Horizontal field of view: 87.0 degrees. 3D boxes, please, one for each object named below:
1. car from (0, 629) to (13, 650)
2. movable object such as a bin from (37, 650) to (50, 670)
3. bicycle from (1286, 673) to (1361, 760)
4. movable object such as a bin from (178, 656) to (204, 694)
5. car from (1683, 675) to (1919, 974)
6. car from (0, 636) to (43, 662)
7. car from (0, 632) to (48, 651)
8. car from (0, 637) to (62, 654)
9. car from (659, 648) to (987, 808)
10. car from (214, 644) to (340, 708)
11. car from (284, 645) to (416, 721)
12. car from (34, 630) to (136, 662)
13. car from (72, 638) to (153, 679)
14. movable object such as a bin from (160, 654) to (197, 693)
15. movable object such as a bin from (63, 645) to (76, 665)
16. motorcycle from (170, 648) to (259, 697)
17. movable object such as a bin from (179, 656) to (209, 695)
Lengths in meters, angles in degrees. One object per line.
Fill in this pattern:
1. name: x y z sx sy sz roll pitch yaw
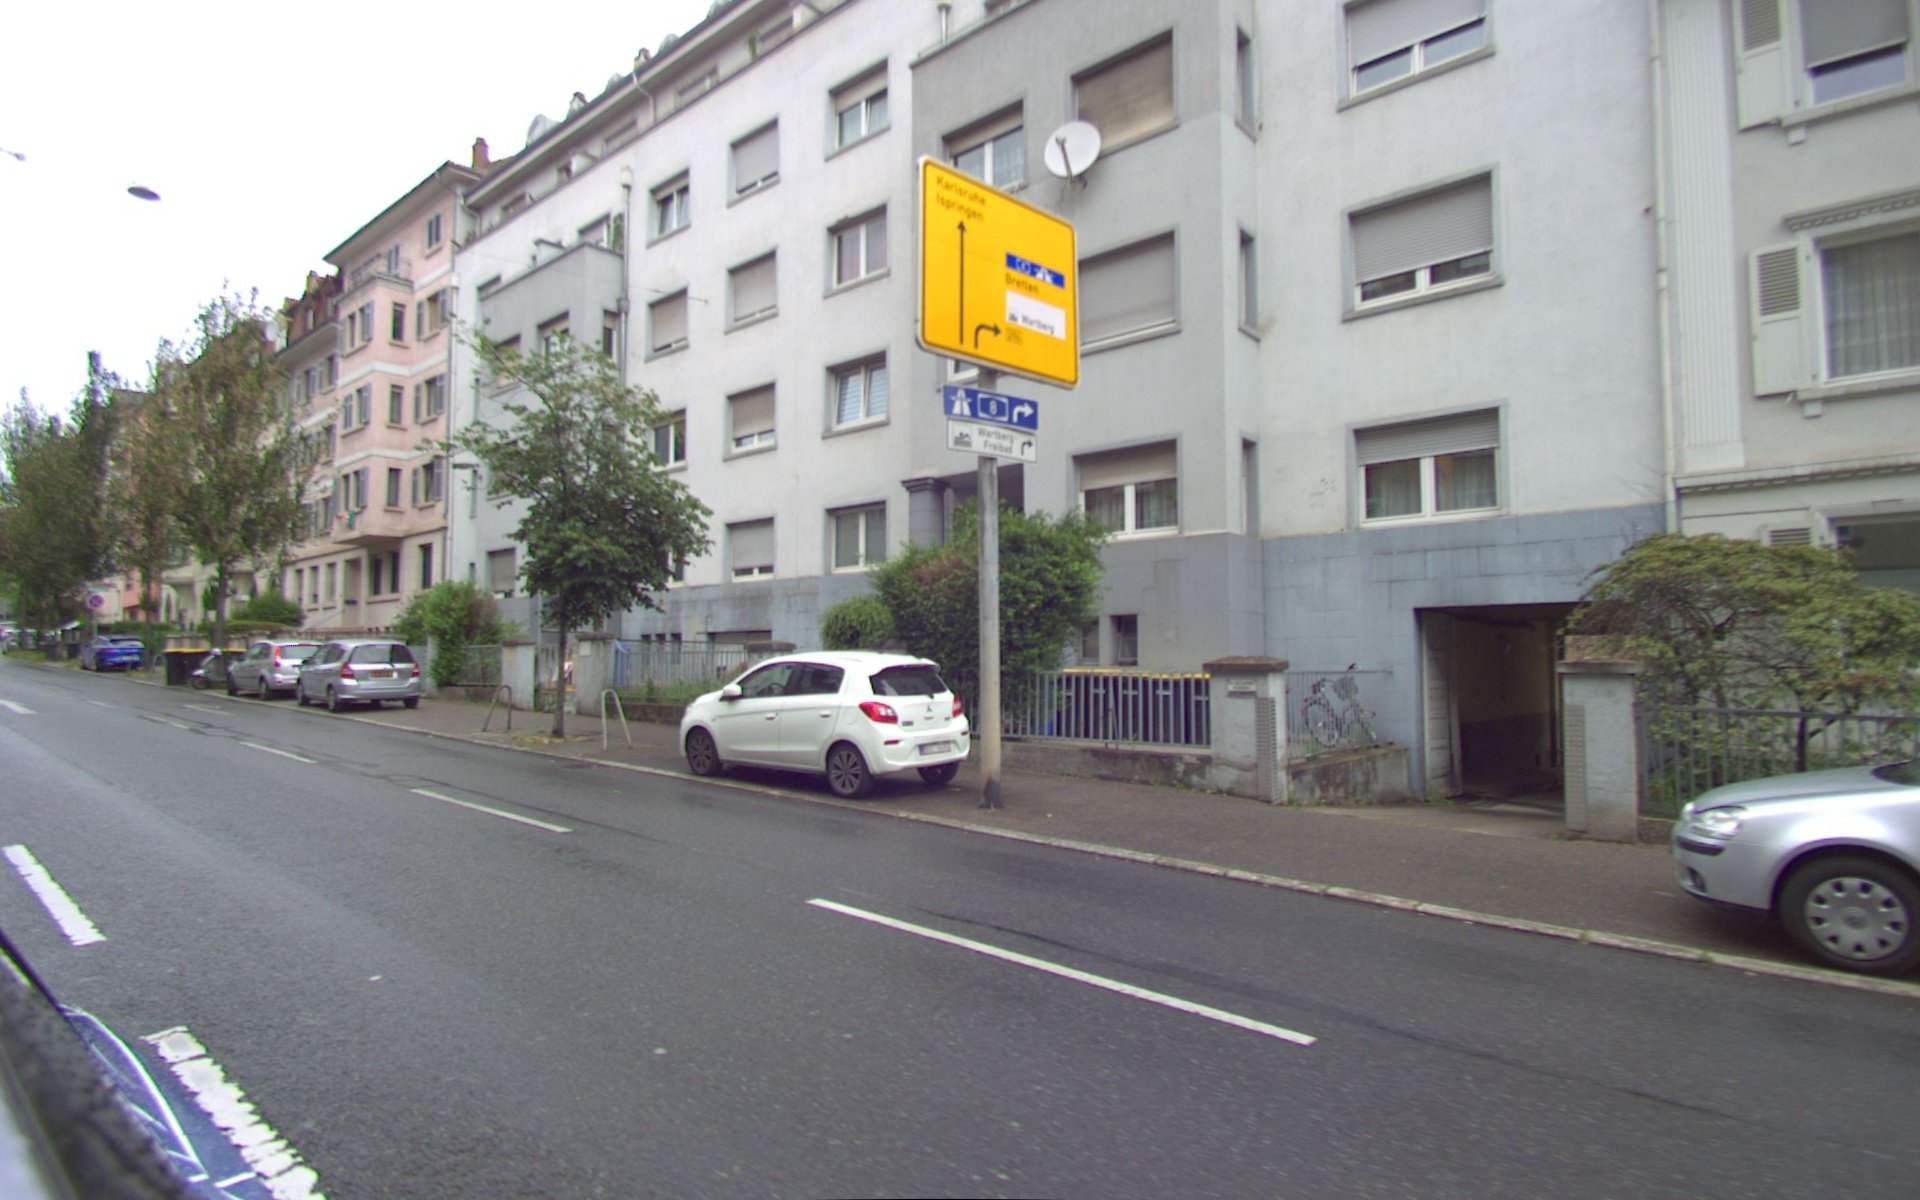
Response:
1. car: -89.878 3.564 92.937 1.865 1.861 3.881 -1 -4 38
2. movable object such as a bin: -42.693 2.790 47.160 0.572 0.896 0.360 -2 -2 40
3. bicycle: 4.943 1.550 13.739 0.484 1.098 1.406 -2 -4 41
4. movable object such as a bin: -22.628 2.192 29.771 0.482 1.066 0.467 0 0 32
5. car: 6.042 1.141 4.957 3.907 1.401 1.665 -2 -3 42
6. car: -54.228 2.813 58.232 4.136 1.428 1.663 -1 -5 41
7. car: -86.401 3.764 92.778 1.592 1.634 3.877 -1 -4 41
8. car: -78.929 3.841 85.841 1.646 1.307 3.877 -1 -4 41
9. car: -1.674 1.335 11.726 3.793 1.519 1.629 -2 -3 40
10. car: -17.143 1.849 25.330 3.885 1.407 1.584 0 -3 40
11. car: -13.418 1.740 22.177 3.889 1.462 1.582 -2 -2 45
12. car: -56.146 2.926 65.013 1.917 1.919 4.672 0 -2 39
13. car: -32.834 2.232 39.176 4.600 1.396 1.661 0 -3 41
14. movable object such as a bin: -23.129 2.162 29.955 0.483 1.066 0.816 -1 0 42
15. movable object such as a bin: -42.137 2.606 47.868 0.572 0.918 0.360 -1 -2 40
16. motorcycle: -20.641 2.003 28.054 1.782 1.325 0.743 2 -3 -8
17. movable object such as a bin: -22.094 2.175 29.204 0.480 1.066 0.522 0 0 19
